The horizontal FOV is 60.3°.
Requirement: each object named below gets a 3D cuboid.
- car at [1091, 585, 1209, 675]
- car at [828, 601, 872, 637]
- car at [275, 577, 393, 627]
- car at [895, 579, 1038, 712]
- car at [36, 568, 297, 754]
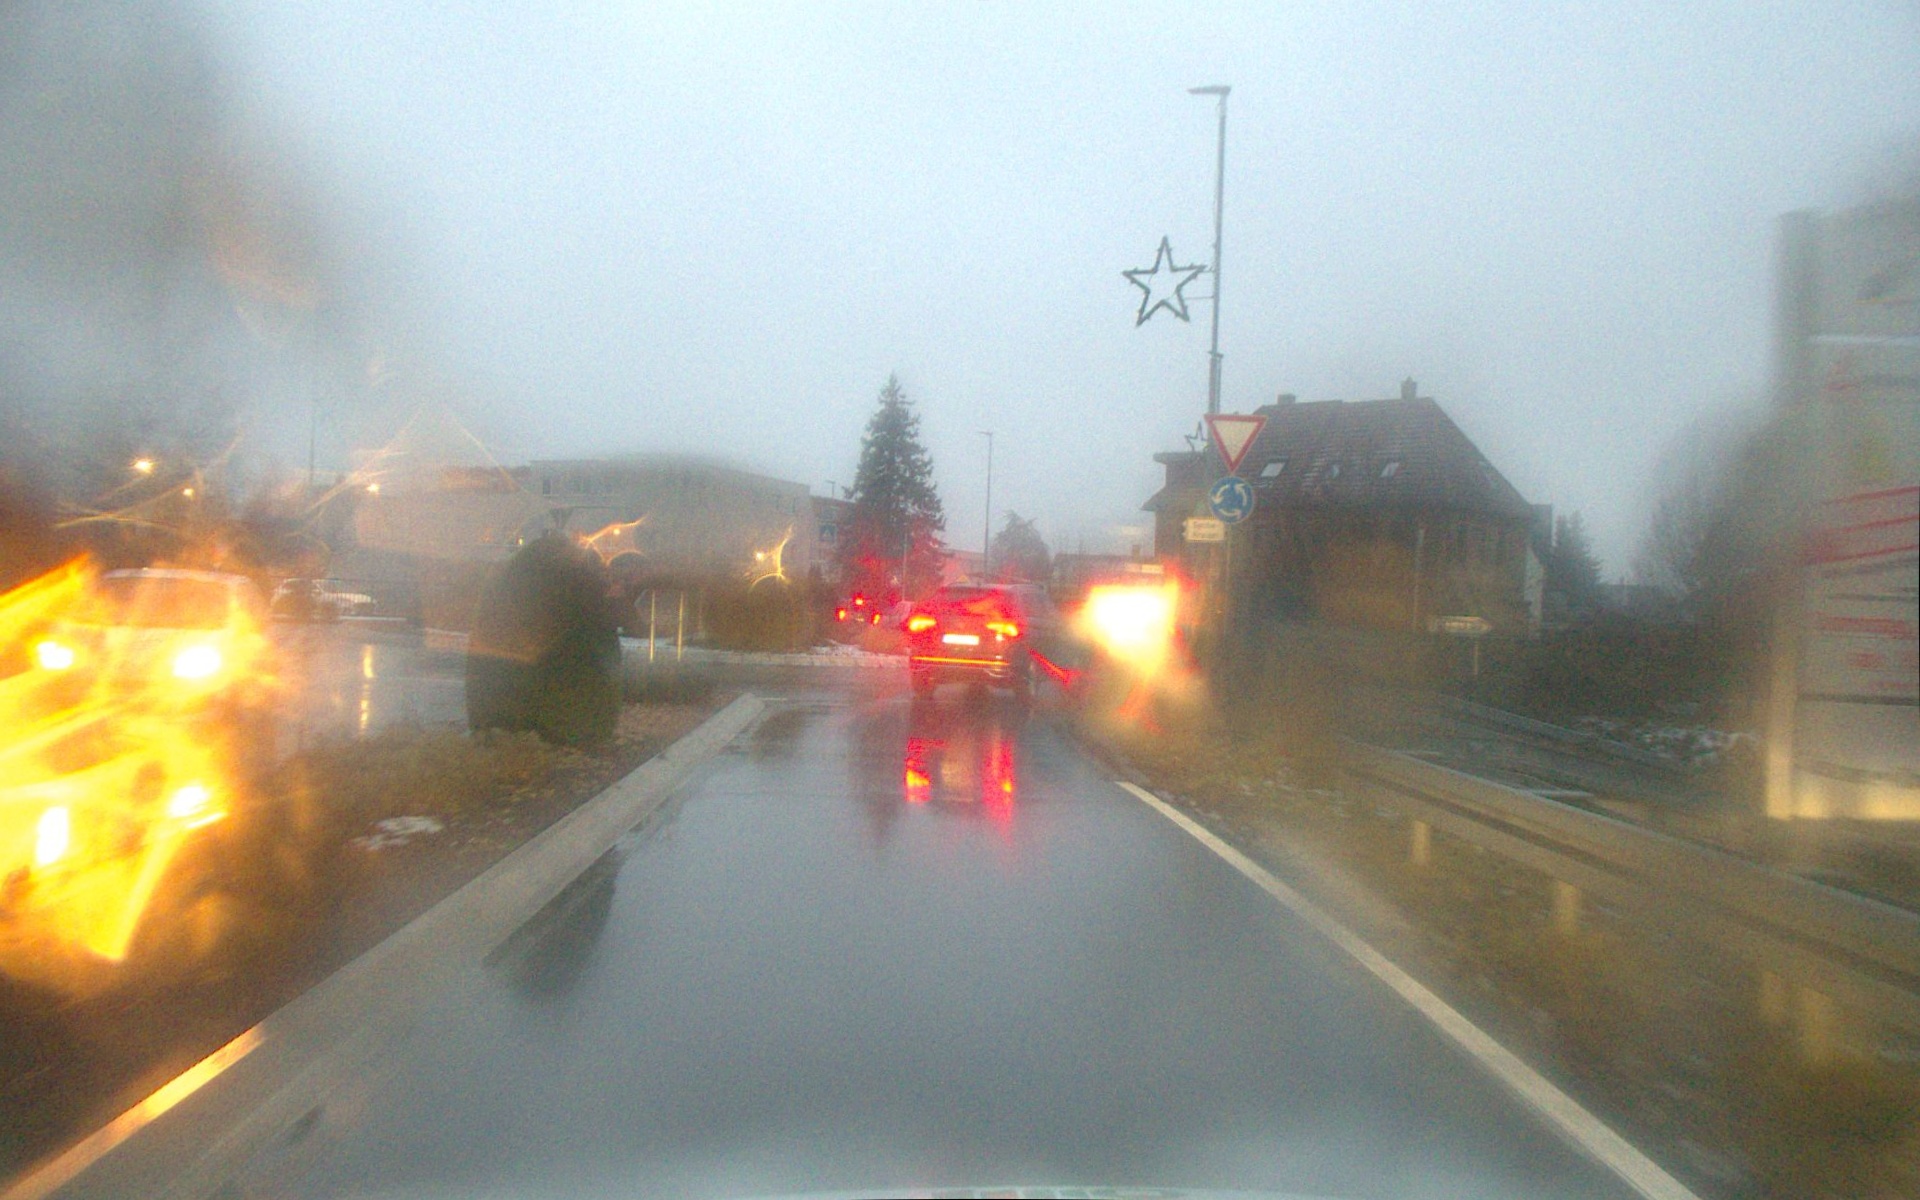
[{"bbox_3d":[4.170,0.582,35.684,2.117,1.719,4.575,2,1,11],"label":"car"},{"bbox_3d":[-5.142,0.885,76.666,1.740,1.571,3.993,1,-1,-8],"label":"car"},{"bbox_3d":[-23.964,0.083,63.263,4.191,1.588,2.059,3,-2,33],"label":"car"},{"bbox_3d":[0.119,0.637,24.819,1.904,1.748,4.000,2,0,1],"label":"car"},{"bbox_3d":[-7.181,0.493,15.298,1.581,1.495,3.668,1,0,-17],"label":"car"}]
